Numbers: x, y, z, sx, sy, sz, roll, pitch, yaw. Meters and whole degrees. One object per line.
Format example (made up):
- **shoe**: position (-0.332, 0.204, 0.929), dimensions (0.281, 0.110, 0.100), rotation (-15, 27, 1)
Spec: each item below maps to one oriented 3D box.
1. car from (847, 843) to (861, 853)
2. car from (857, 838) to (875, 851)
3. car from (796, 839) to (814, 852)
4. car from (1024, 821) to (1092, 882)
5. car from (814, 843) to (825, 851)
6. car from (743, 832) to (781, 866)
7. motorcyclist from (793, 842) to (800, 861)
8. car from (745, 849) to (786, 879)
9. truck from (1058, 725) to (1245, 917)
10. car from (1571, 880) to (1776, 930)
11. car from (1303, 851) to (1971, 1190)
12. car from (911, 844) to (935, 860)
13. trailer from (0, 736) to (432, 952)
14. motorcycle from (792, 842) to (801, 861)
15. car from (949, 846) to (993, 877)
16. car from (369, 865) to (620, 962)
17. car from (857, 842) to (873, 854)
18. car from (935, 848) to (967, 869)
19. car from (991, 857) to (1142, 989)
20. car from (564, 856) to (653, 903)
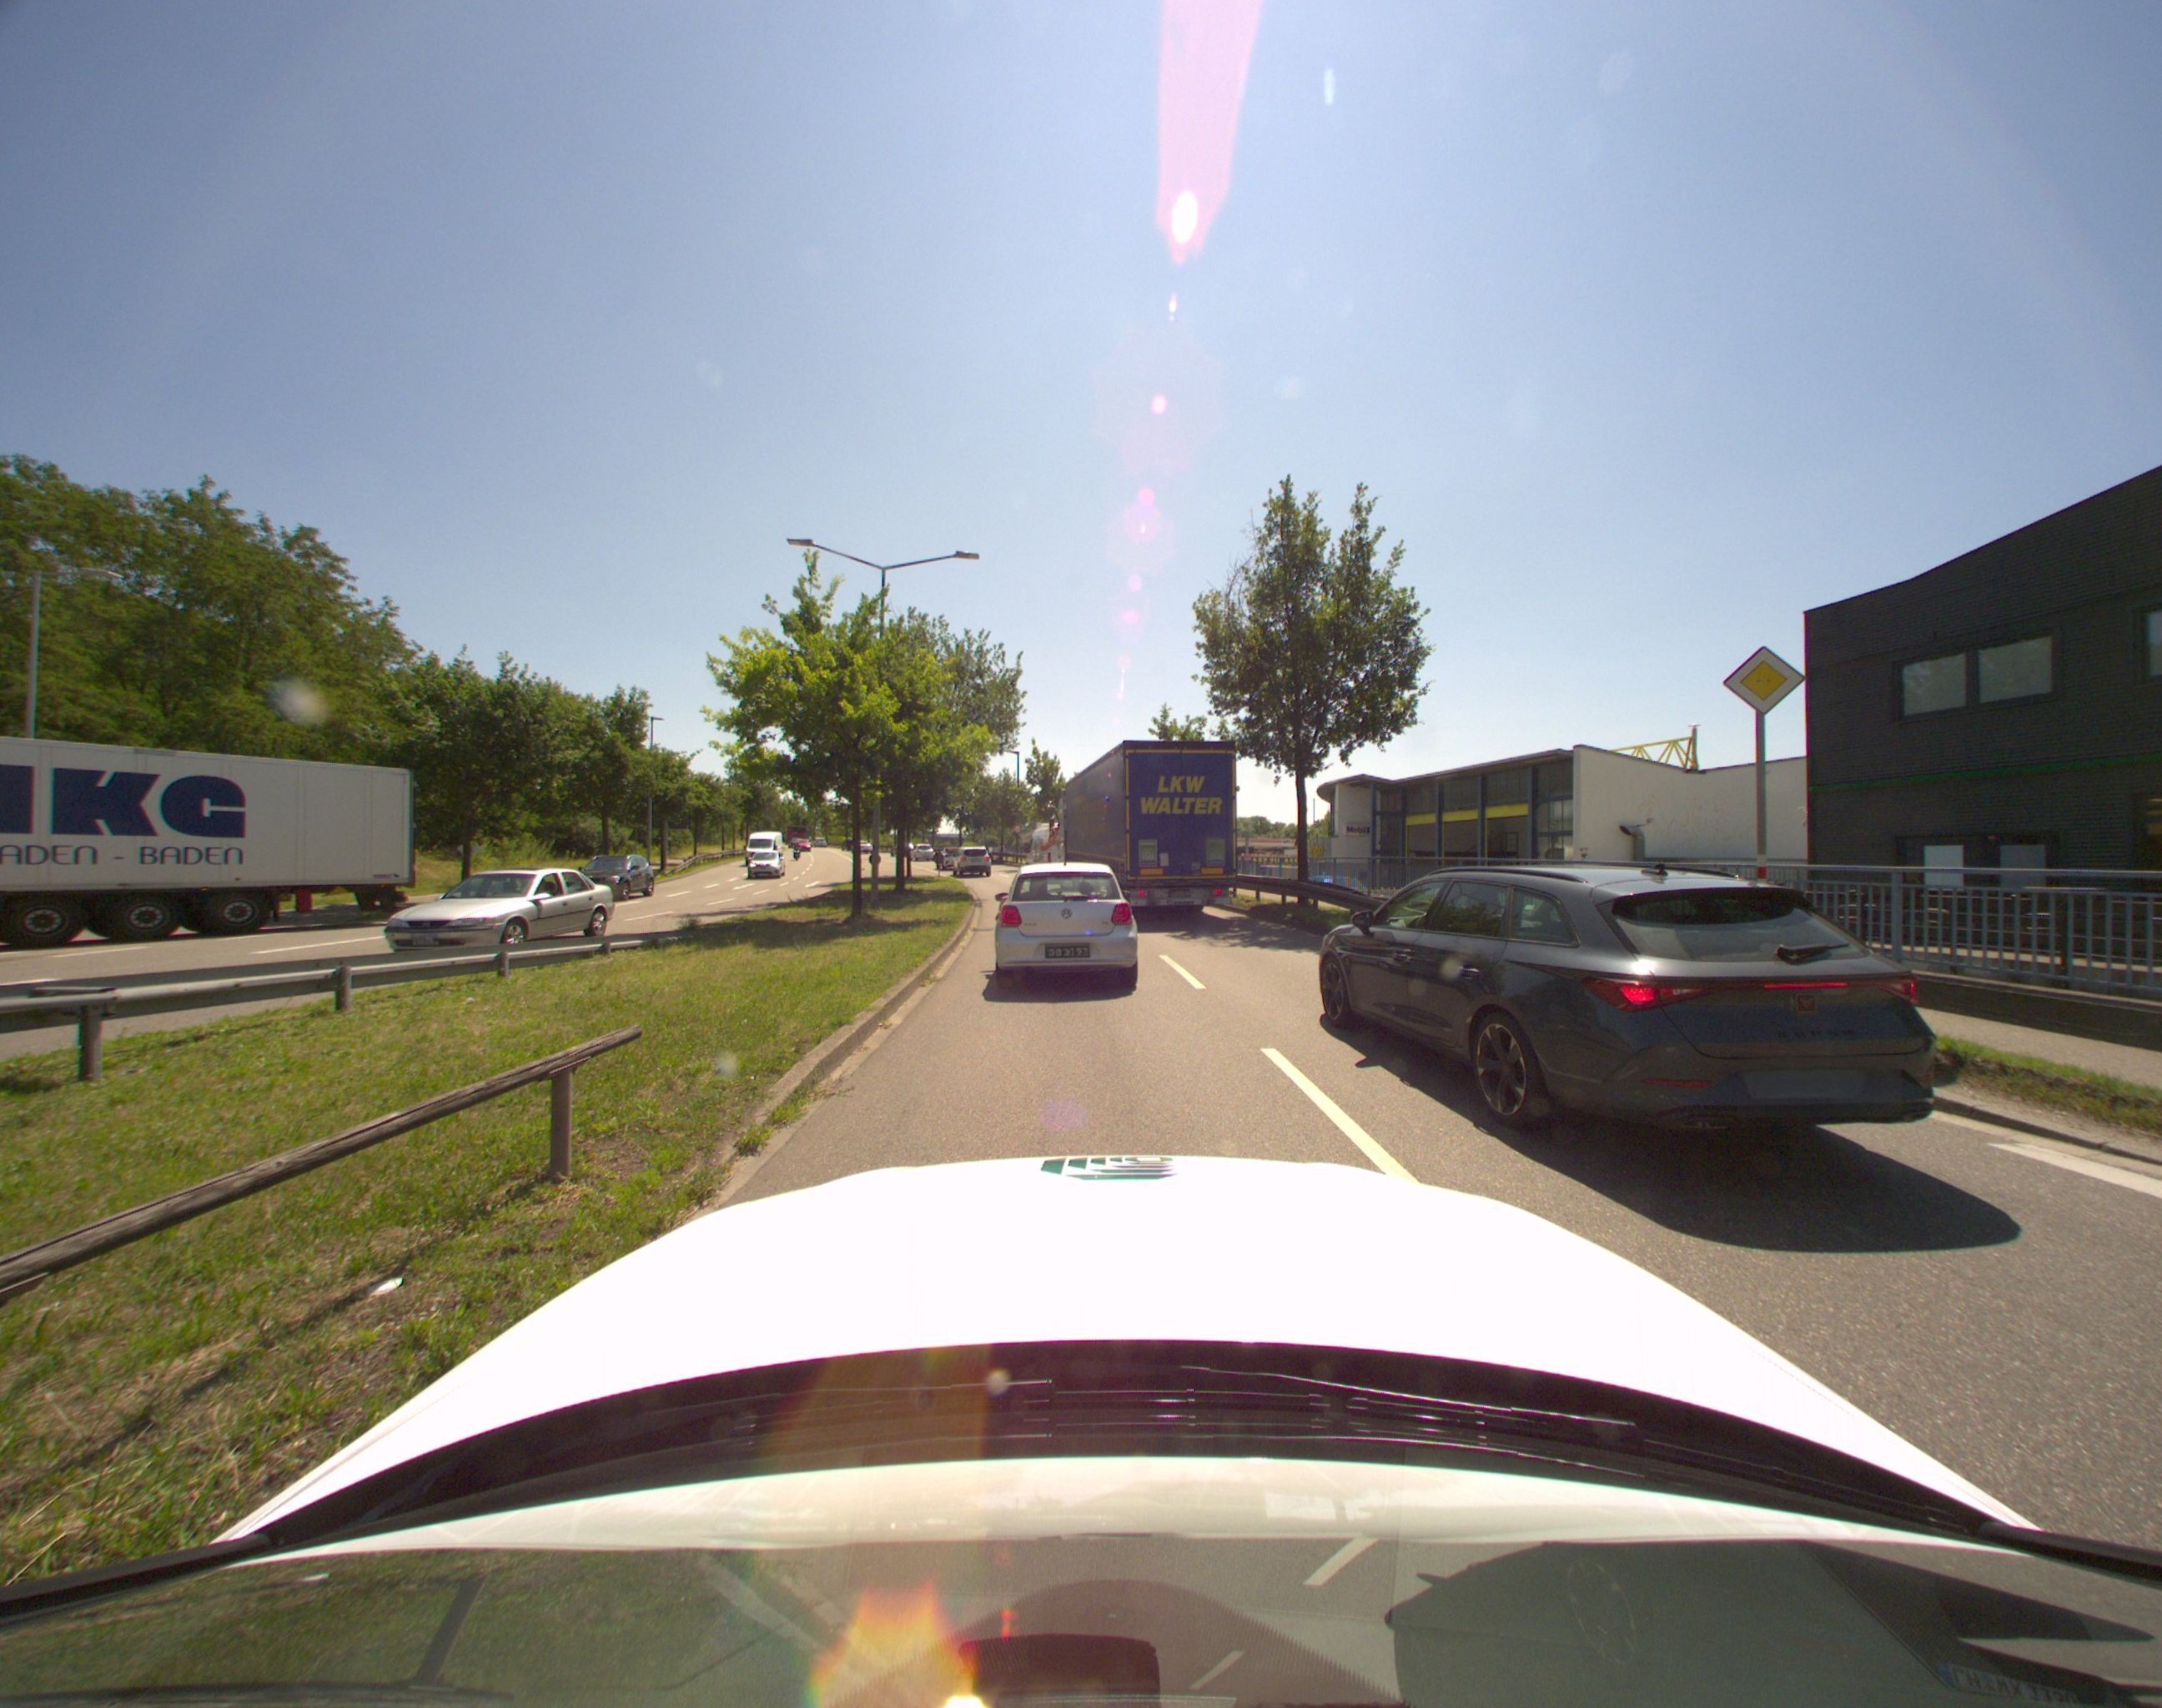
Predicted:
- **car**: position (-28.900, -0.747, 103.813), dimensions (1.423, 1.314, 3.313), rotation (0, -1, -21)
- **car**: position (-24.622, -1.044, 93.290), dimensions (1.671, 1.465, 3.555), rotation (0, -1, -21)
- **car**: position (-33.445, -1.031, 98.872), dimensions (1.835, 1.437, 4.500), rotation (-2, 0, -16)
- **car**: position (-1.313, -0.194, 42.251), dimensions (2.179, 2.900, 6.327), rotation (0, 1, -14)
- **car**: position (-39.284, -0.993, 122.456), dimensions (1.327, 1.139, 2.973), rotation (0, -1, -22)
- **car**: position (-24.514, -0.424, 62.764), dimensions (2.099, 2.500, 5.778), rotation (-1, 1, -16)
- **motorcyclist**: position (-25.235, -0.200, 72.260), dimensions (0.588, 1.626, 0.559), rotation (0, -1, -17)
- **car**: position (-17.961, 0.577, 46.564), dimensions (1.636, 1.567, 4.053), rotation (-1, -1, -14)
- **truck**: position (1.342, -0.750, 26.116), dimensions (2.830, 4.198, 16.437), rotation (0, 0, -6)
- **car**: position (18.362, 1.548, 25.599), dimensions (5.018, 1.358, 2.012), rotation (-1, -1, 30)
- **car**: position (3.047, 0.739, 5.699), dimensions (1.601, 1.456, 4.229), rotation (0, -1, -4)
- **car**: position (-13.833, -0.168, 71.300), dimensions (1.613, 1.360, 3.639), rotation (0, 0, -19)
- **trailer**: position (-21.316, -0.196, 16.266), dimensions (2.983, 4.049, 12.785), rotation (0, 1, 30)
- **motorcycle**: position (-25.222, -0.209, 72.201), dimensions (0.599, 1.678, 2.411), rotation (0, -1, -17)
- **car**: position (-6.347, 0.442, 46.665), dimensions (1.908, 1.718, 4.199), rotation (0, -1, -17)
- **car**: position (-10.098, 0.928, 14.485), dimensions (1.631, 1.403, 4.214), rotation (-1, 0, -5)
- **car**: position (-24.755, -0.716, 93.230), dimensions (1.462, 1.314, 3.612), rotation (0, -1, -21)
- **car**: position (-8.687, 0.296, 54.245), dimensions (1.499, 1.360, 3.638), rotation (0, 0, -20)
- **car**: position (-0.167, 0.767, 10.669), dimensions (1.641, 1.439, 3.536), rotation (0, -1, 0)
- **car**: position (-17.581, 0.909, 30.527), dimensions (1.489, 1.633, 4.456), rotation (0, -1, -11)
